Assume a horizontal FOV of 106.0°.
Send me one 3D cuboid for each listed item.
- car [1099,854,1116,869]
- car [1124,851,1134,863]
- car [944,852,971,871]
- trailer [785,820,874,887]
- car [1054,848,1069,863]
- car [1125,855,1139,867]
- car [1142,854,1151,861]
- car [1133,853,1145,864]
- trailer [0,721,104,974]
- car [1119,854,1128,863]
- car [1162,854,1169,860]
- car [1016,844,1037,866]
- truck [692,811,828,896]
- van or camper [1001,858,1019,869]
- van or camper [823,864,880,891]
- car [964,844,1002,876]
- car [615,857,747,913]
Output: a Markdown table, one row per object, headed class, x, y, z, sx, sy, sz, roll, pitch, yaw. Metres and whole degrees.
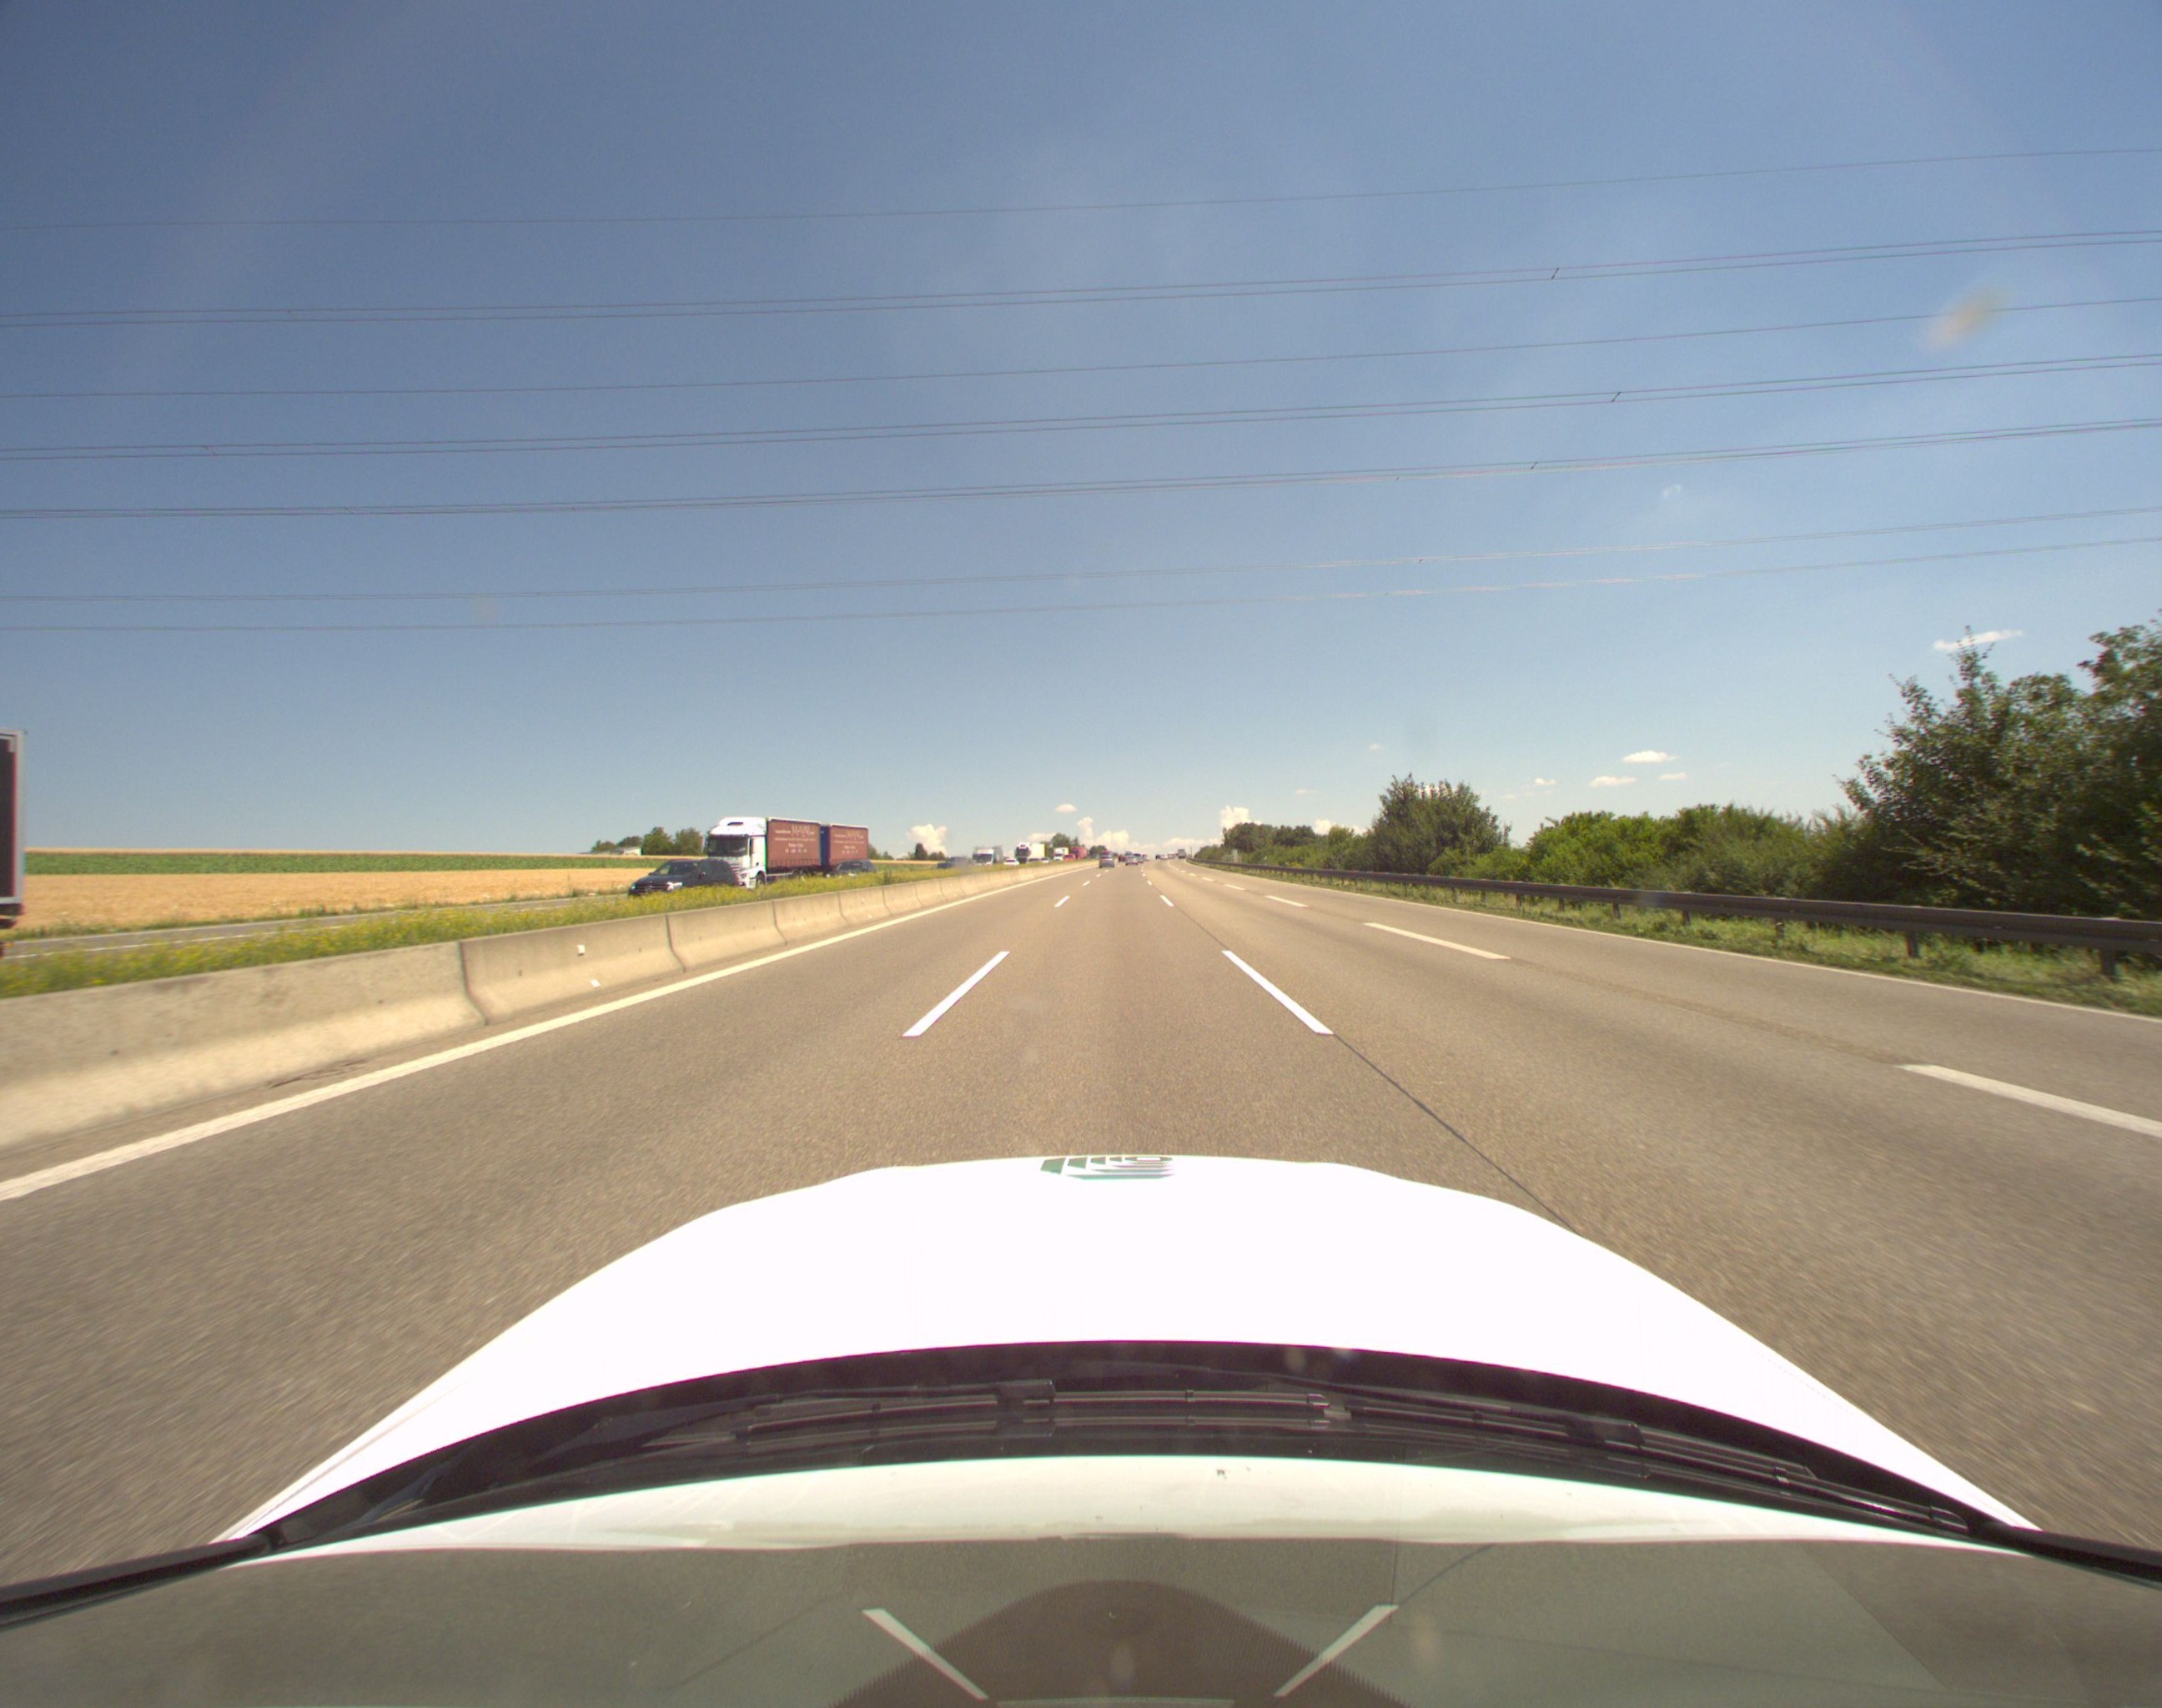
| class | x | y | z | sx | sy | sz | roll | pitch | yaw |
| --- | --- | --- | --- | --- | --- | --- | --- | --- | --- |
| car | 3.280 | 0.966 | 100.692 | 1.986 | 1.750 | 4.000 | 0 | -3 | 2 |
| car | 11.027 | 0.688 | 185.161 | 2.170 | 2.625 | 4.676 | -1 | -3 | 4 |
| car | -11.339 | 0.661 | 75.064 | 1.730 | 1.670 | 4.002 | 0 | 0 | 2 |
| trailer | -16.959 | 0.004 | 55.804 | 2.764 | 4.183 | 9.185 | 0 | 0 | 3 |
| car | -4.464 | 0.367 | 186.694 | 2.530 | 3.379 | 8.191 | -1 | 0 | 5 |
| car | 7.738 | 1.068 | 123.634 | 1.985 | 1.585 | 4.002 | -1 | -2 | 3 |
| car | 15.055 | 0.717 | 186.743 | 1.984 | 1.552 | 4.006 | 1 | 0 | 6 |
| car | 10.543 | 0.795 | 148.415 | 1.984 | 1.904 | 4.005 | -1 | -3 | 5 |
| trailer | -19.165 | -0.139 | 7.562 | 2.782 | 4.105 | 14.016 | 0 | 0 | 3 |
| car | 9.015 | 0.980 | 172.888 | 1.839 | 1.861 | 4.211 | 0 | 1 | 4 |
| car | 21.804 | 0.753 | 209.549 | 1.892 | 1.442 | 4.007 | -1 | 0 | 6 |
| car | -9.650 | 0.220 | 144.998 | 2.530 | 3.832 | 8.192 | -1 | 0 | 5 |
| truck | -17.664 | -0.011 | 45.865 | 2.875 | 4.171 | 10.631 | 0 | 0 | 3 |
| van or camper | -9.049 | 1.185 | 103.566 | 1.730 | 1.345 | 4.002 | -1 | -1 | 2 |
| van or camper | -13.127 | 1.322 | 46.875 | 1.986 | 1.453 | 4.002 | -1 | 0 | 2 |
| car | -8.517 | 0.567 | 71.518 | 2.395 | 2.679 | 6.040 | 0 | -1 | 2 |
| car | -14.133 | 1.011 | 29.219 | 1.986 | 1.792 | 5.216 | 0 | 0 | 2 |
